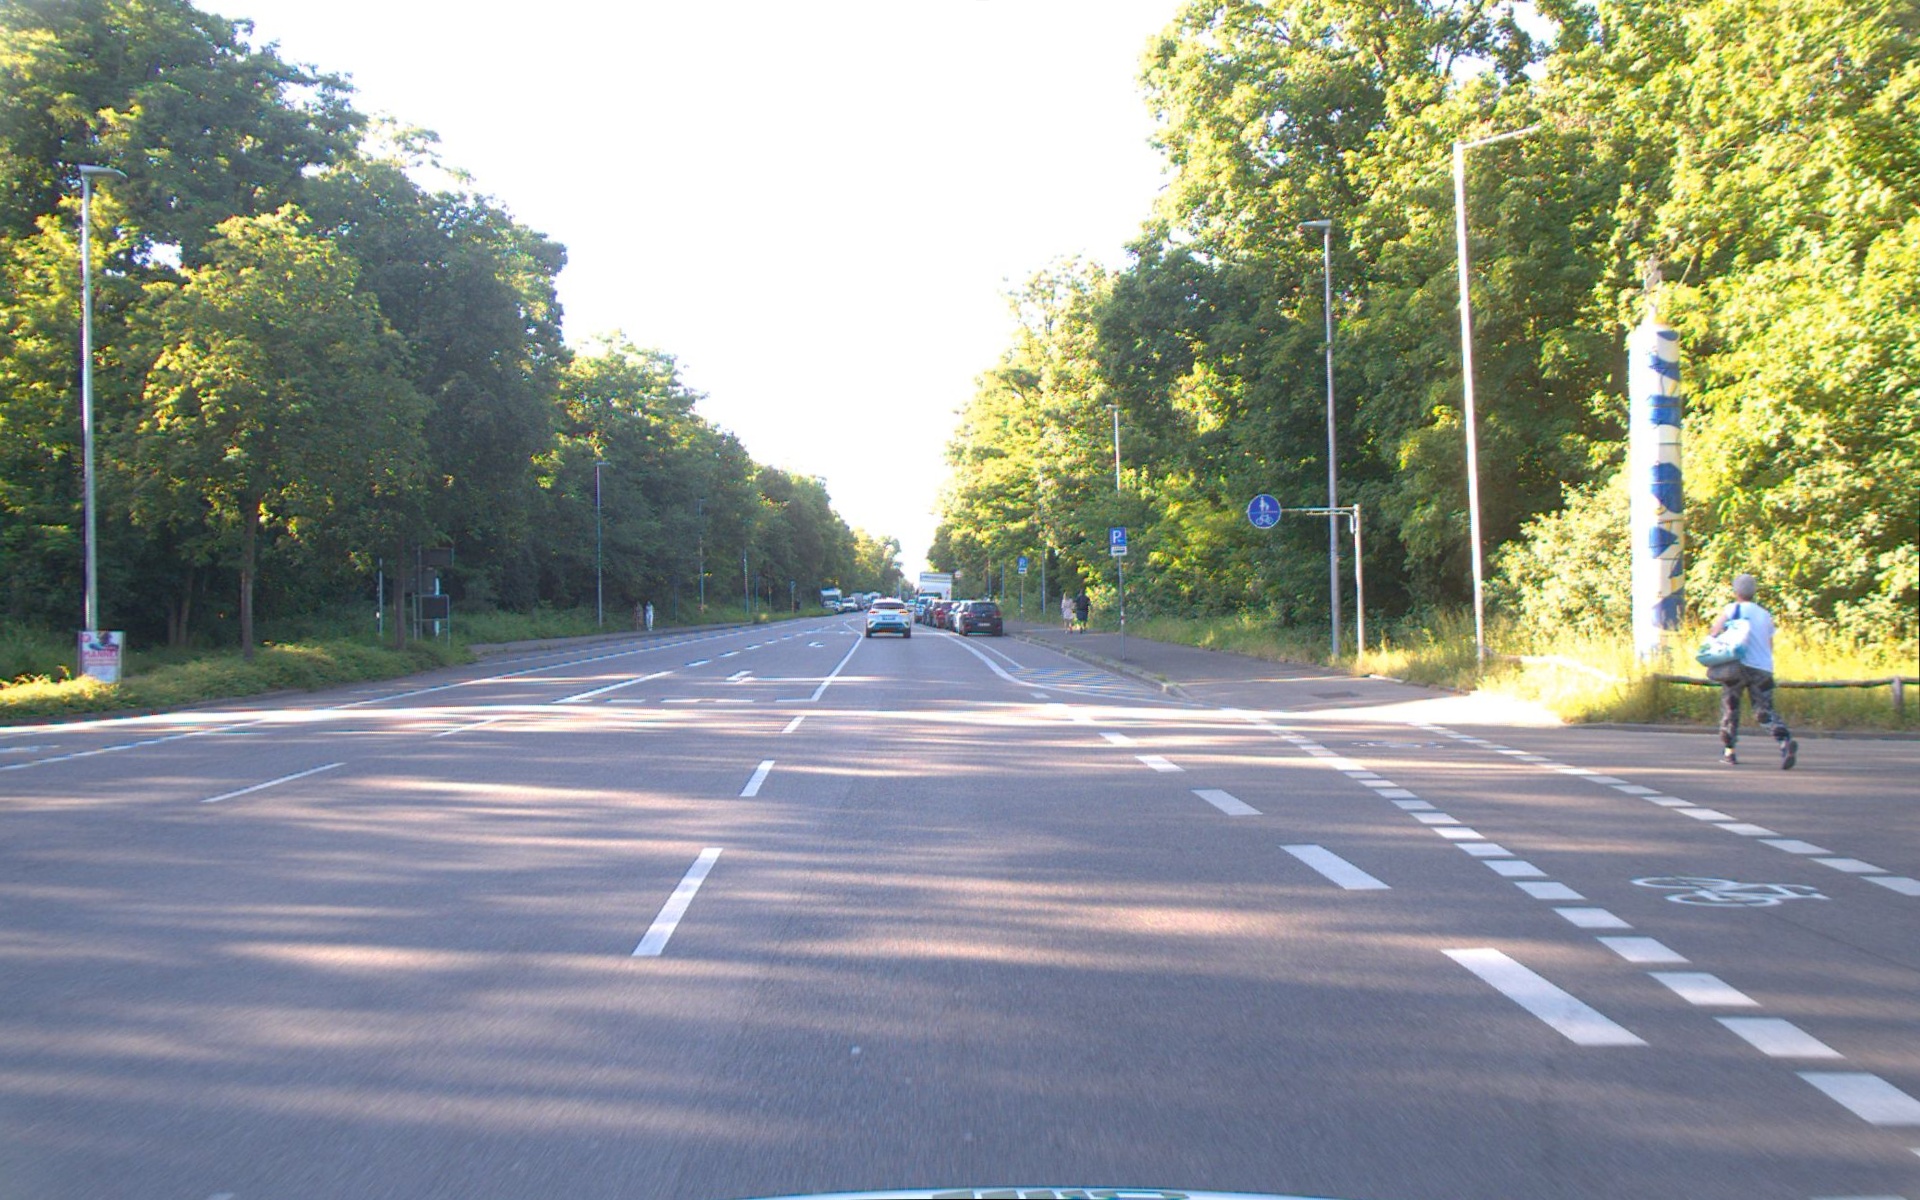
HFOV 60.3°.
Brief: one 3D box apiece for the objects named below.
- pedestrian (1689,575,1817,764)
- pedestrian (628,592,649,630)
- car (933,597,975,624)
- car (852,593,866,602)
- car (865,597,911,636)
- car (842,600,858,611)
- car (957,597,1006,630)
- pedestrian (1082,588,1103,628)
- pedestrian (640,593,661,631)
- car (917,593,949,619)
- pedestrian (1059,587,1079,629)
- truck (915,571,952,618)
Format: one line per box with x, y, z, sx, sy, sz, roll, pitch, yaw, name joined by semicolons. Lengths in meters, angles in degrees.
6.918;0.589;14.460;0.739;1.591;0.803;-1;0;4;pedestrian
-17.512;0.605;90.009;0.845;2.049;1.269;-1;0;1;pedestrian
-0.346;0.532;87.781;1.954;1.350;3.996;-1;0;-4;car
-14.763;-0.353;241.182;1.954;1.350;3.998;-1;0;-3;car
-2.917;0.644;66.669;1.727;1.485;3.814;1;0;-4;car
-14.527;0.730;218.190;1.954;1.350;3.998;-1;0;-3;car
0.907;0.562;72.102;1.953;1.350;3.999;-1;0;-1;car
5.397;0.318;67.308;0.728;1.627;0.798;-1;0;-2;pedestrian
-16.837;0.639;89.991;0.814;2.049;1.269;-1;0;1;pedestrian
-1.689;0.372;103.779;1.953;1.583;3.999;-1;0;-1;car
4.423;0.334;67.267;0.684;1.682;0.876;-1;0;-1;pedestrian
-2.126;-0.450;131.513;2.743;3.632;8.031;0;0;-2;truck
